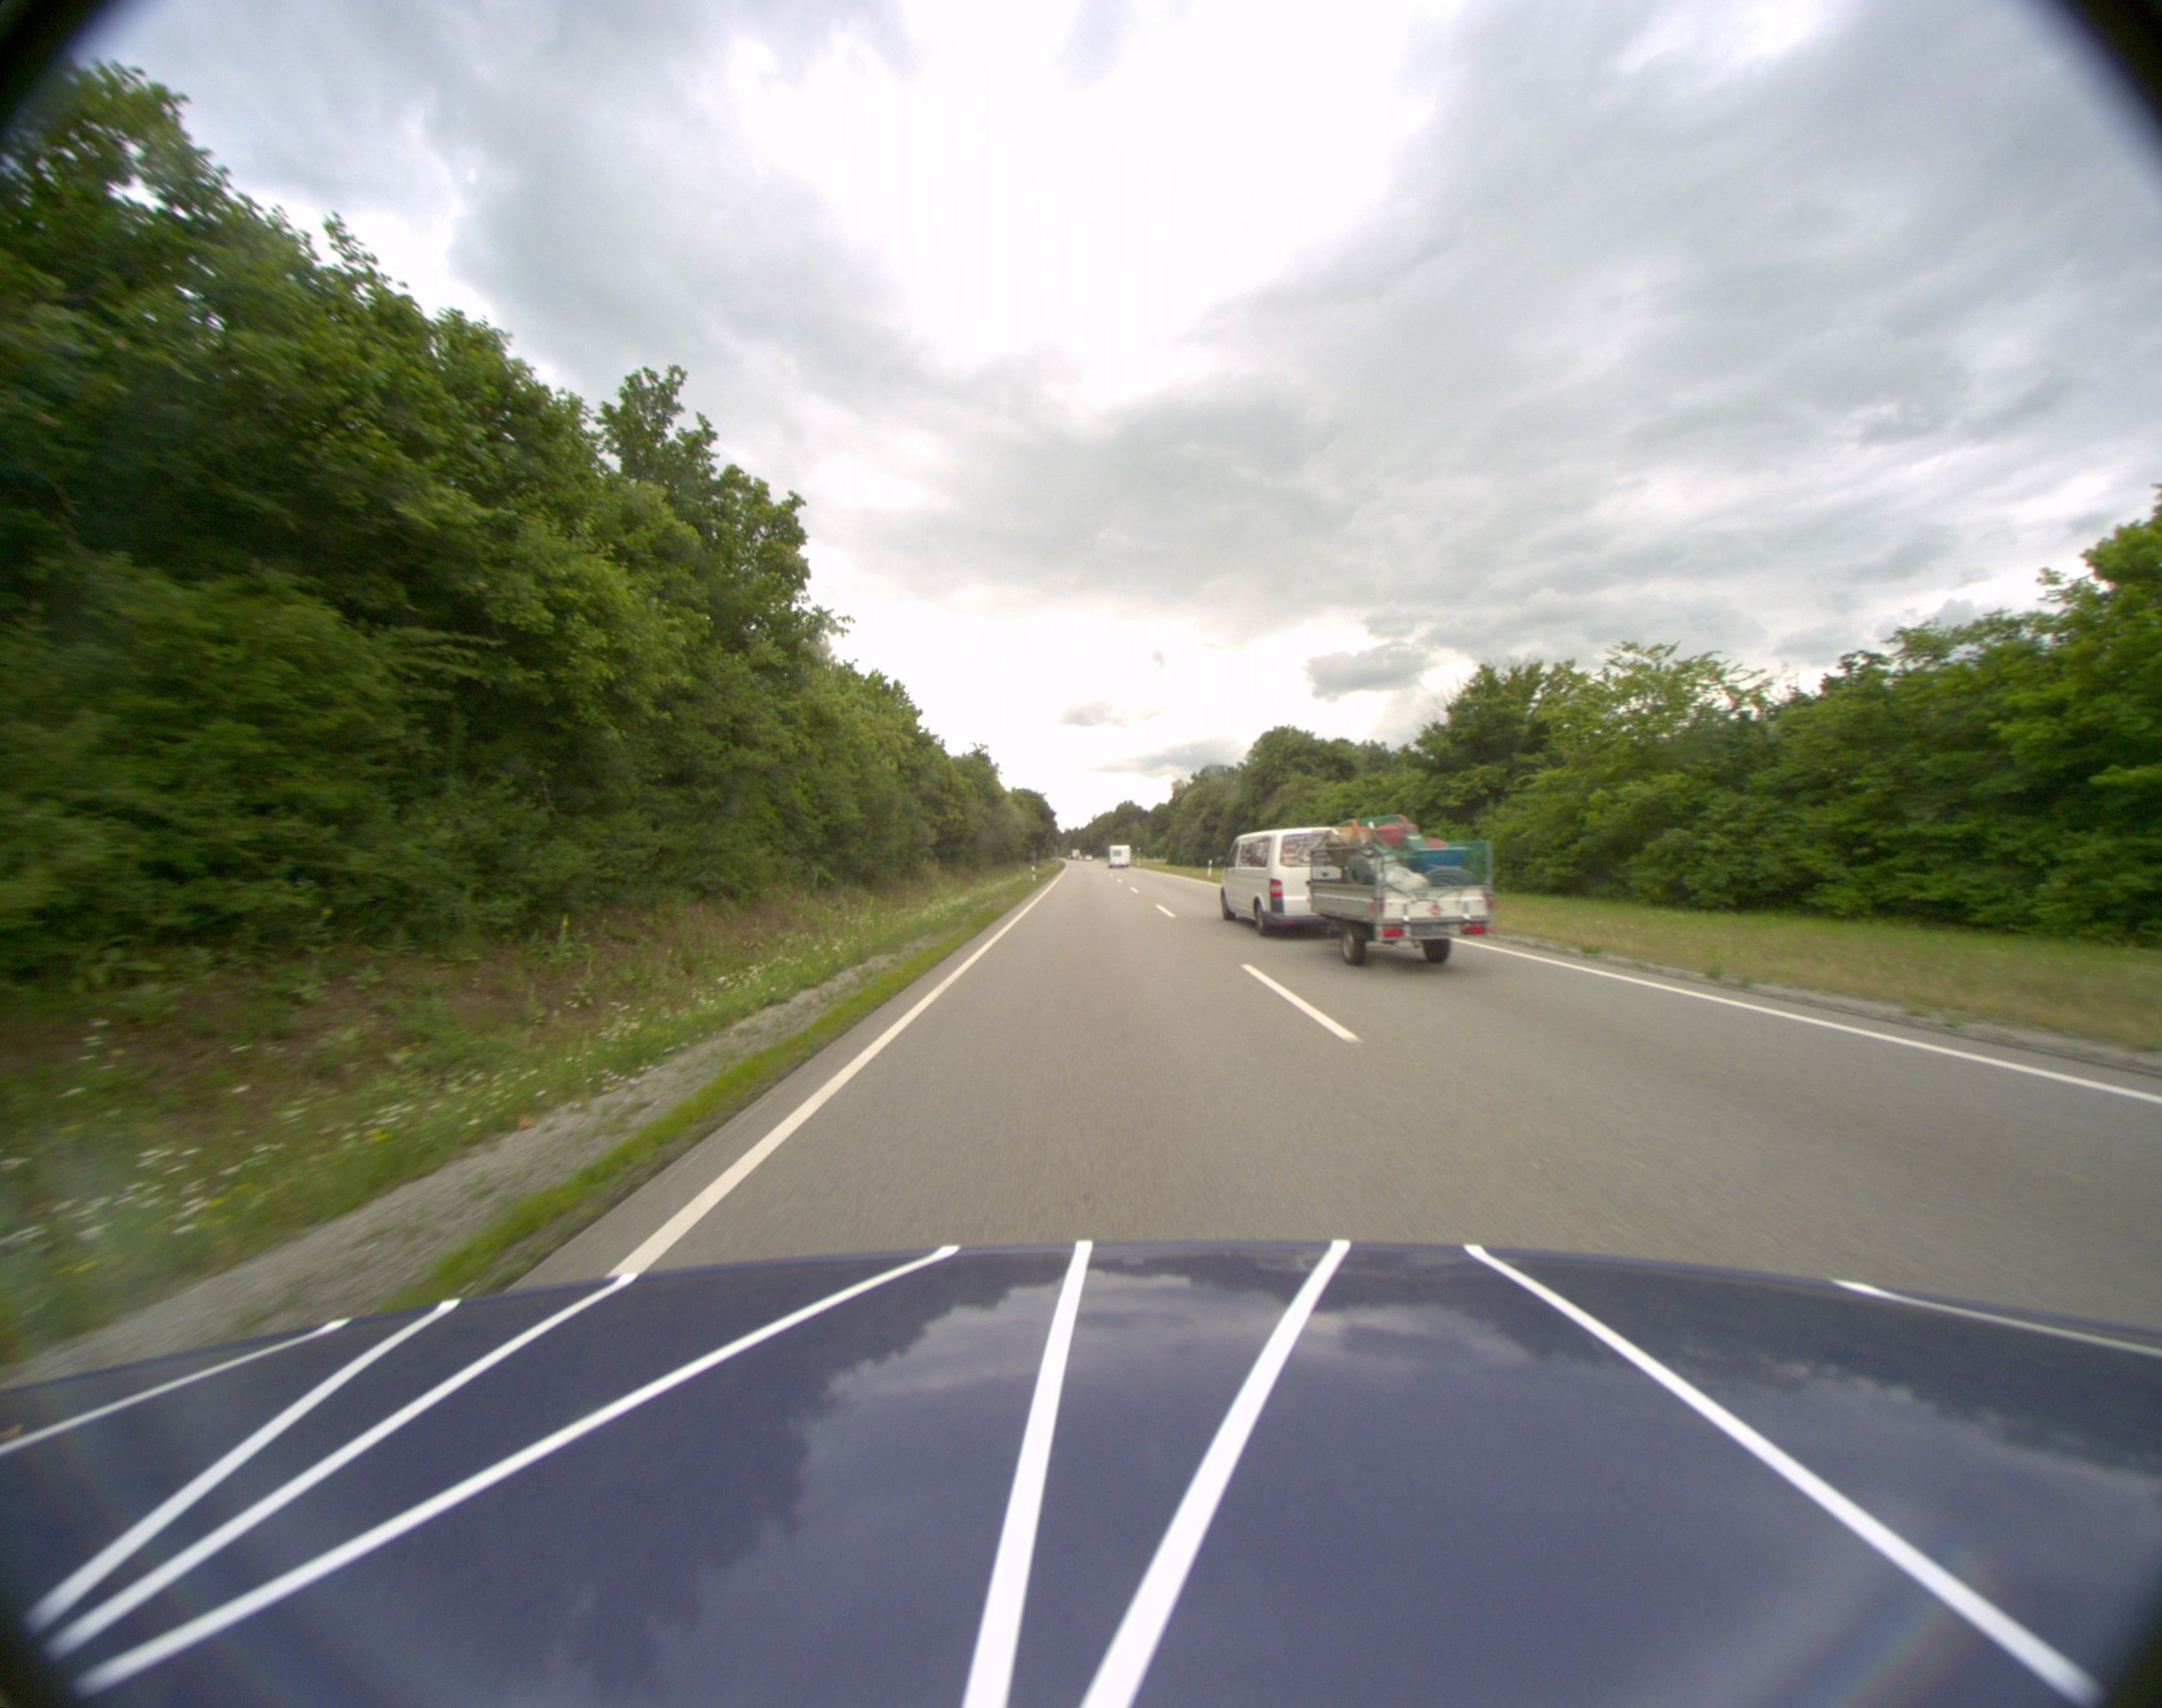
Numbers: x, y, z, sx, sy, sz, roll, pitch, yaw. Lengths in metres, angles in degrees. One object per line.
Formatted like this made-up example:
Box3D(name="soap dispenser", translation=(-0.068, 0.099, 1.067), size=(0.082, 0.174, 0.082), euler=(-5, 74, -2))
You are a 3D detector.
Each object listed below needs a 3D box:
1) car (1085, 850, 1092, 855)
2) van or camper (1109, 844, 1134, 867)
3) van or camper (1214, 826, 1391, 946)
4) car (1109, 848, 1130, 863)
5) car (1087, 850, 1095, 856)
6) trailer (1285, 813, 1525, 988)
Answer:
Box3D(name="car", translation=(2.352, -0.378, 237.780), size=(1.730, 1.426, 4.502), euler=(-2, 0, -1))
Box3D(name="van or camper", translation=(4.645, 0.136, 87.539), size=(2.386, 2.560, 6.278), euler=(-2, 0, 0))
Box3D(name="van or camper", translation=(4.049, 0.503, 14.983), size=(1.926, 1.881, 5.361), euler=(-2, 0, 1))
Box3D(name="car", translation=(4.686, 0.137, 93.066), size=(2.284, 1.594, 4.691), euler=(-4, 0, 0))
Box3D(name="car", translation=(2.518, -0.310, 199.274), size=(1.969, 1.565, 5.451), euler=(-2, 0, -1))
Box3D(name="trailer", translation=(4.094, 0.505, 10.298), size=(1.626, 1.881, 3.783), euler=(-2, 1, 1))
